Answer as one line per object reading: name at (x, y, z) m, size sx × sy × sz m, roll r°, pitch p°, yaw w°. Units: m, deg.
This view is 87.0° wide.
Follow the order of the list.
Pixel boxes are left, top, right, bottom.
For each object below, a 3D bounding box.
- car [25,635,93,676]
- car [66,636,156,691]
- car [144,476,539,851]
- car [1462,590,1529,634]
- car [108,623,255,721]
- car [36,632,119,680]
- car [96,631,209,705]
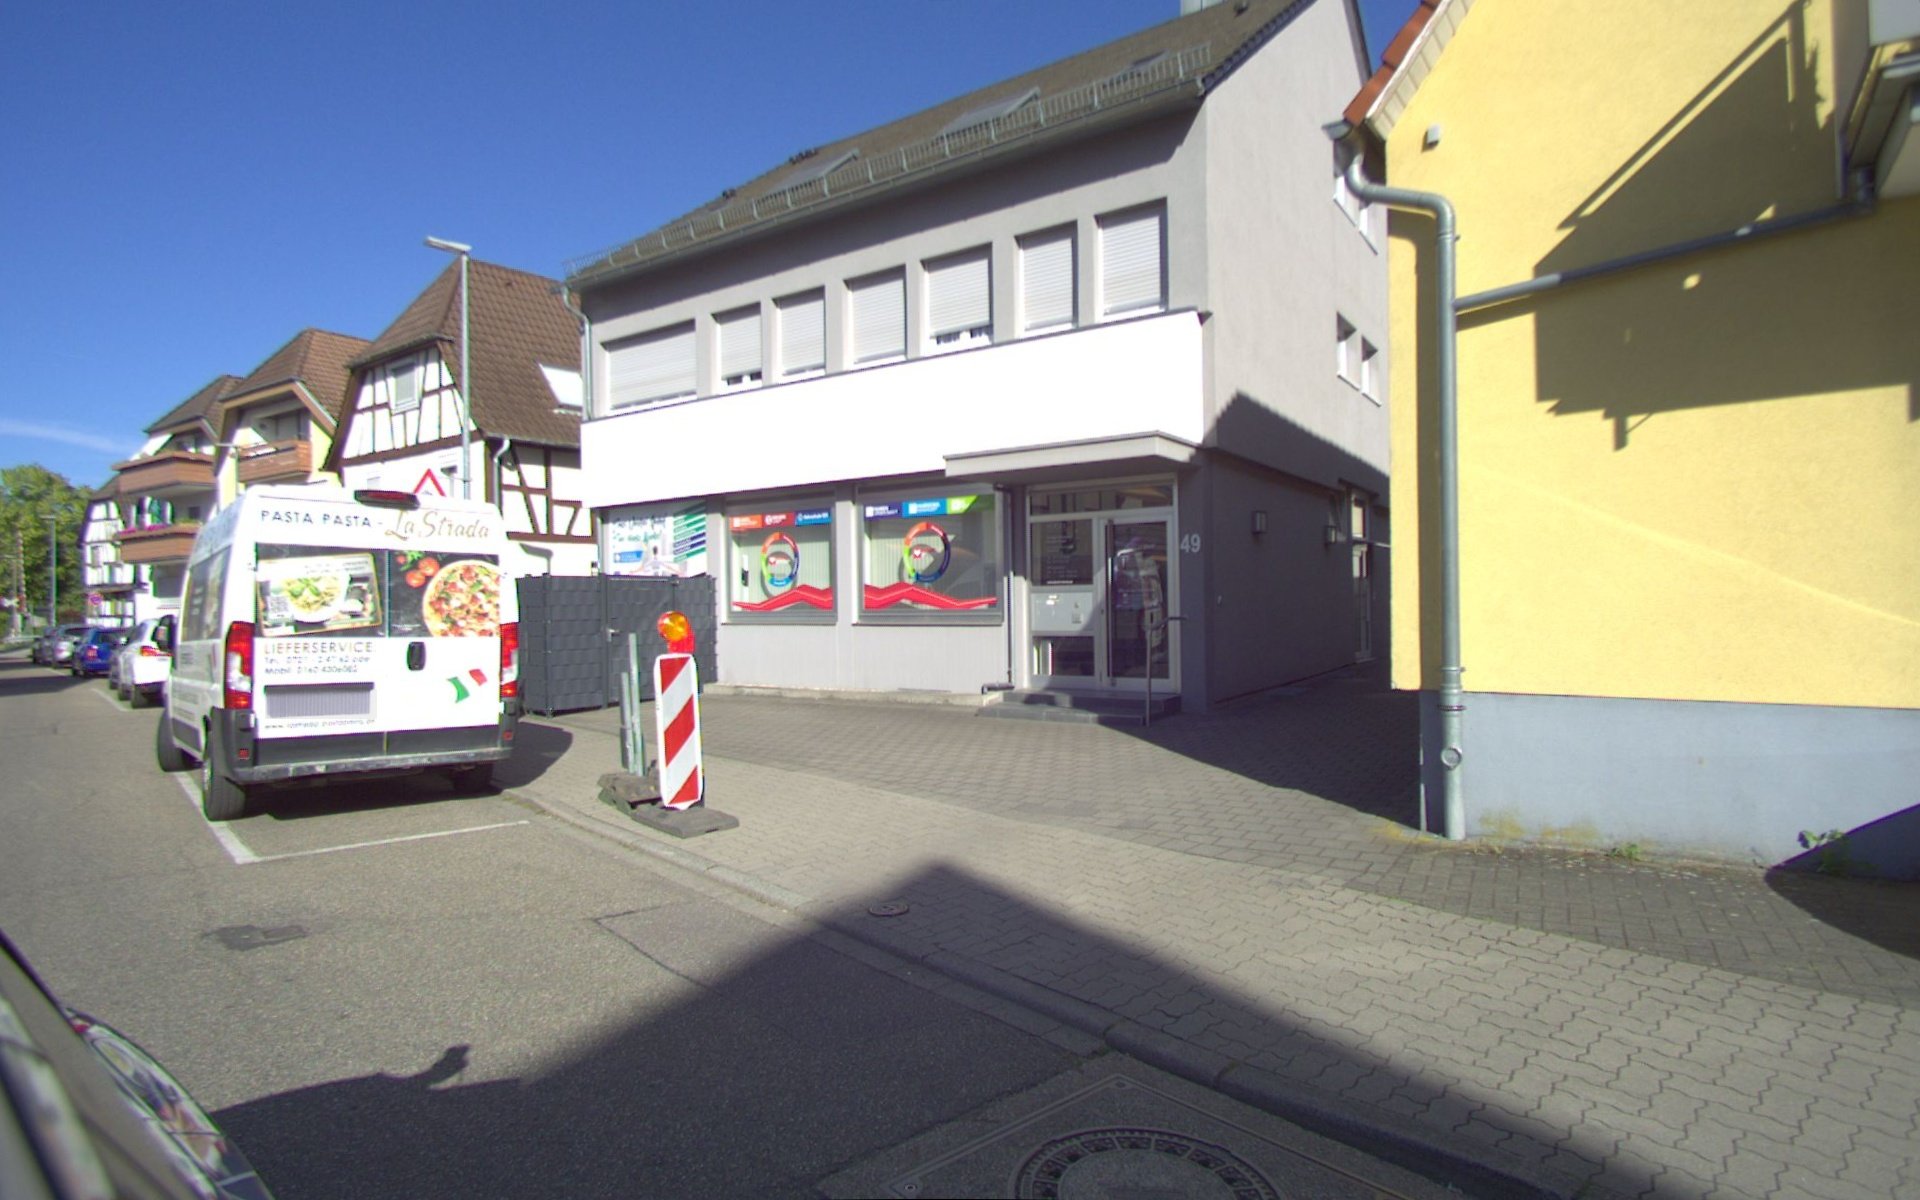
car at (-34.935, 2.106, 39.217) m, size 3.615 × 1.488 × 1.606 m, roll -2°, pitch -2°, yaw 42°
car at (-24.499, 1.782, 29.154) m, size 3.957 × 1.450 × 1.600 m, roll -2°, pitch -2°, yaw 44°
car at (-6.086, 0.494, 9.542) m, size 2.225 × 2.489 × 5.523 m, roll 0°, pitch -2°, yaw -42°
car at (18.118, 0.411, 34.176) m, size 1.666 × 1.404 × 3.403 m, roll -2°, pitch -2°, yaw 33°
car at (-14.760, 1.281, 19.110) m, size 1.702 × 1.631 × 4.114 m, roll 0°, pitch -2°, yaw -45°
car at (-30.901, 1.912, 35.412) m, size 3.999 × 1.568 × 1.740 m, roll -2°, pitch -2°, yaw 42°
car at (-18.508, 1.499, 23.140) m, size 1.636 × 1.519 × 3.686 m, roll 0°, pitch -2°, yaw -45°
